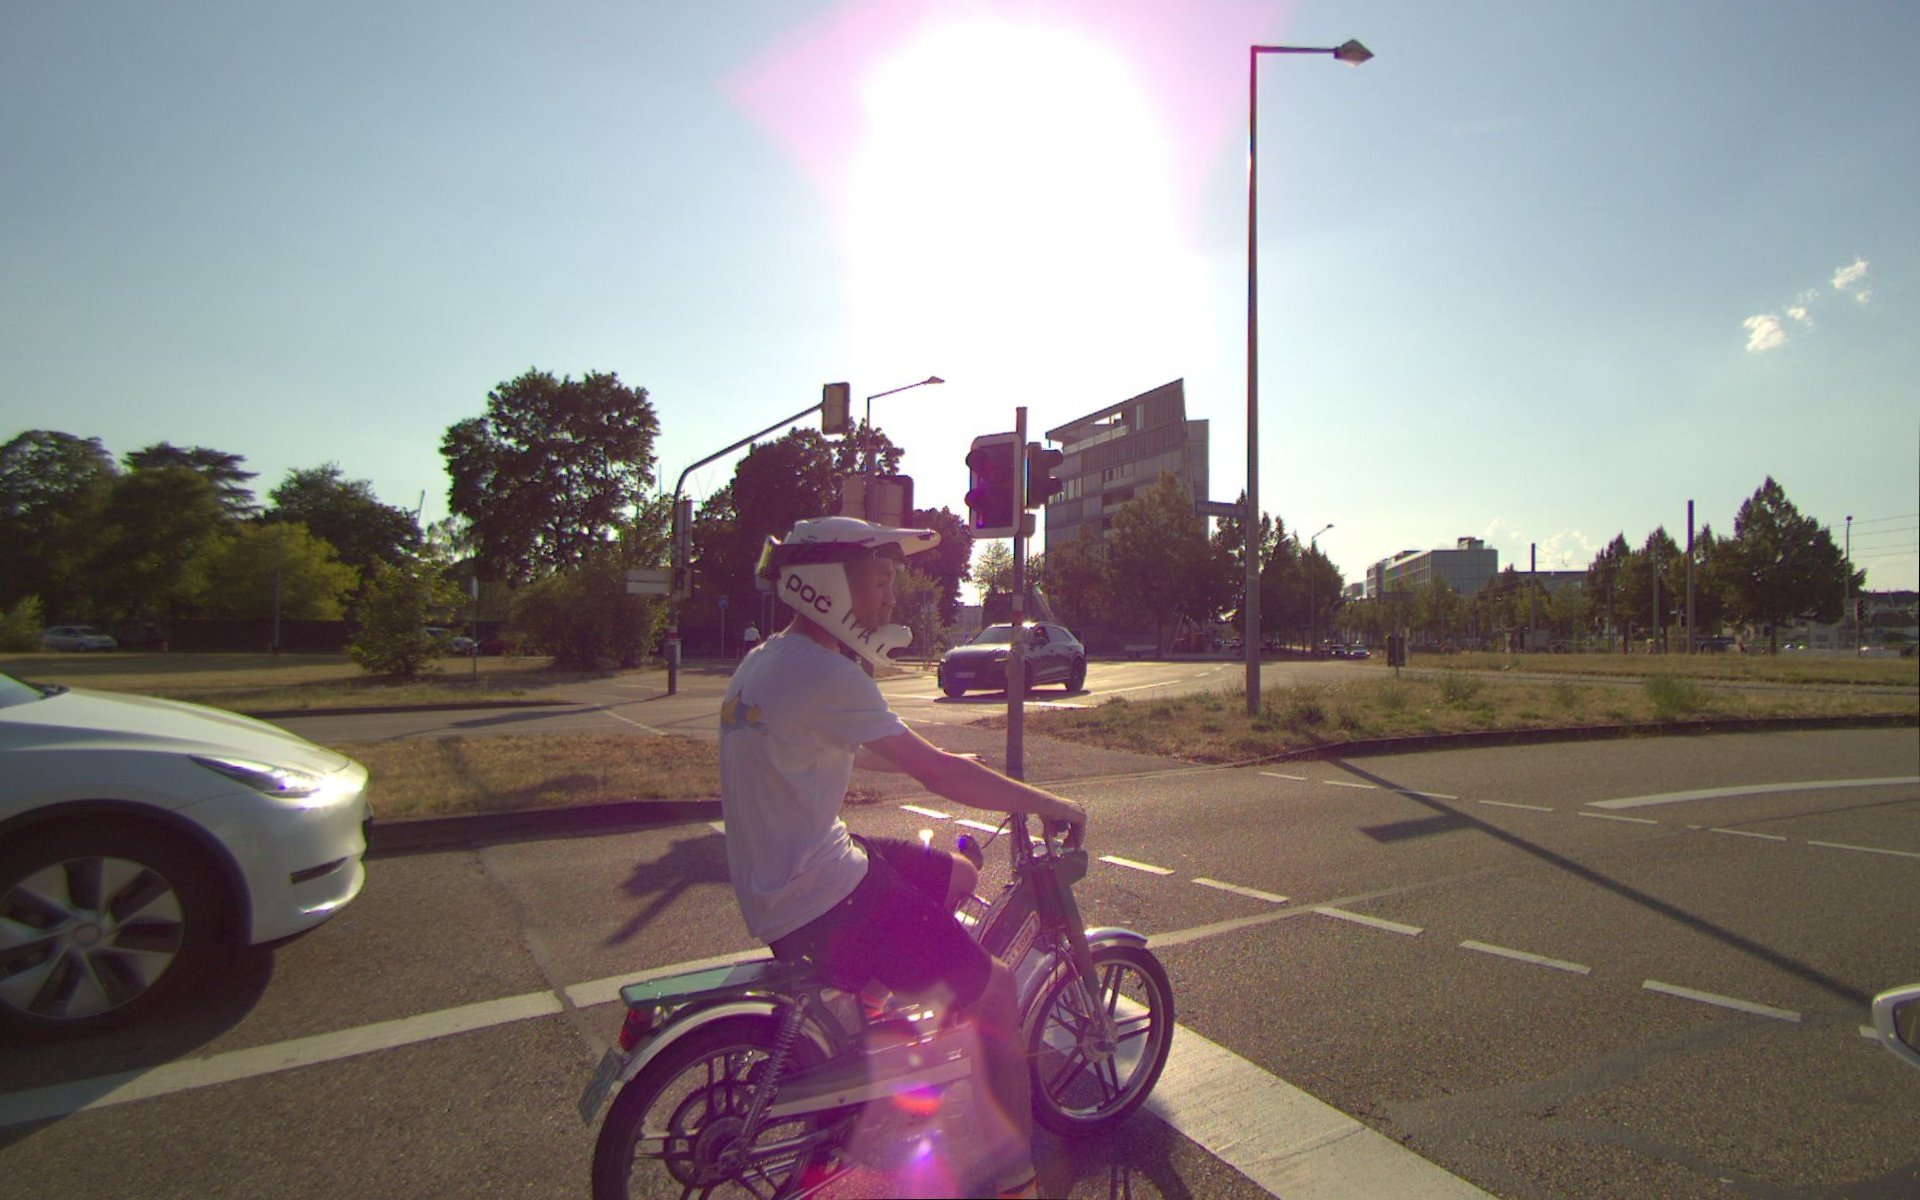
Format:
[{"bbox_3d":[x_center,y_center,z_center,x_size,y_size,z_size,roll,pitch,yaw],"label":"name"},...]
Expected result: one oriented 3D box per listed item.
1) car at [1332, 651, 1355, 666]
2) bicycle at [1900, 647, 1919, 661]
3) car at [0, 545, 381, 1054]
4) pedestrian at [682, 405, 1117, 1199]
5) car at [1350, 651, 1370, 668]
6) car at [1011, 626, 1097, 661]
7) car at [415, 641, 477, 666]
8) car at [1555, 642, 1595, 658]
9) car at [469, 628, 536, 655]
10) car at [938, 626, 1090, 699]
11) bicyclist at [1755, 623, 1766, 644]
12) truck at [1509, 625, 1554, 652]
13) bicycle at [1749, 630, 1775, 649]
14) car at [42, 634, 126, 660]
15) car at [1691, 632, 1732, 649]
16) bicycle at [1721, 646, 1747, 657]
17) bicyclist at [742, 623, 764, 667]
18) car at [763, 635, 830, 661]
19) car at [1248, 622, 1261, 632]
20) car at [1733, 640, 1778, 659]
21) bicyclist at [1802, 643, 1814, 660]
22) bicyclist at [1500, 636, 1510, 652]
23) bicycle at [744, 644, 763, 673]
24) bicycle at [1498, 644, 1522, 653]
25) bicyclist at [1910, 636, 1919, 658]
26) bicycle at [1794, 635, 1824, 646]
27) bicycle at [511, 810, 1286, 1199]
[{"bbox_3d":[39.864,6.060,104.410,1.960,1.495,4.002,0,-2,17],"label":"car"},{"bbox_3d":[68.318,3.845,71.552,0.426,0.930,1.975,1,-2,-34],"label":"bicycle"},{"bbox_3d":[-4.575,0.605,3.174,4.630,1.620,1.724,2,-1,-35],"label":"car"},{"bbox_3d":[-0.158,0.410,2.420,0.844,1.539,0.653,1,-2,-30],"label":"pedestrian"},{"bbox_3d":[36.606,5.433,91.974,1.455,1.495,3.301,0,-2,17],"label":"car"},{"bbox_3d":[5.519,2.569,59.444,4.731,2.040,1.998,1,-2,-8],"label":"car"},{"bbox_3d":[-28.014,2.888,54.763,2.747,1.309,1.338,0,-2,9],"label":"car"},{"bbox_3d":[50.653,4.086,82.750,2.624,1.278,1.114,0,-2,23],"label":"car"},{"bbox_3d":[-27.541,2.506,60.487,3.308,1.567,1.584,0,-2,9],"label":"car"},{"bbox_3d":[1.385,1.408,23.573,1.624,1.532,4.635,-2,-3,30],"label":"car"},{"bbox_3d":[62.303,2.609,78.207,0.598,1.694,0.477,0,-2,34],"label":"bicyclist"},{"bbox_3d":[70.477,4.754,124.012,3.074,3.273,7.178,0,-2,14],"label":"truck"},{"bbox_3d":[62.390,3.056,78.116,1.518,1.493,0.478,-1,-2,34],"label":"bicycle"},{"bbox_3d":[-52.404,2.804,60.119,3.863,1.545,1.658,0,-2,10],"label":"car"},{"bbox_3d":[89.038,4.780,119.049,1.960,2.040,4.002,0,-2,5],"label":"car"},{"bbox_3d":[61.425,4.083,79.681,1.592,0.871,0.543,-1,-2,35],"label":"bicycle"},{"bbox_3d":[-7.560,1.637,36.698,0.628,1.576,0.630,0,-1,2],"label":"bicyclist"},{"bbox_3d":[-9.477,2.776,58.423,3.554,1.457,1.583,0,-2,6],"label":"car"},{"bbox_3d":[47.020,4.292,160.284,1.753,1.576,4.002,2,0,14],"label":"car"},{"bbox_3d":[87.788,5.436,110.850,1.960,2.040,4.002,0,-2,5],"label":"car"},{"bbox_3d":[65.152,3.963,77.183,0.643,1.343,0.517,-1,-2,32],"label":"bicyclist"},{"bbox_3d":[45.586,3.670,84.022,0.641,1.343,0.519,0,-1,17],"label":"bicyclist"},{"bbox_3d":[-7.547,2.132,36.735,0.360,1.046,1.440,0,-2,1],"label":"bicycle"},{"bbox_3d":[45.901,4.023,83.877,1.687,0.754,0.481,0,-2,16],"label":"bicycle"},{"bbox_3d":[68.268,3.370,71.643,0.414,1.531,0.618,1,-2,-35],"label":"bicyclist"},{"bbox_3d":[65.209,3.106,77.136,1.692,0.754,0.479,-1,-2,32],"label":"bicycle"},{"bbox_3d":[-0.046,1.061,2.396,1.834,0.887,0.475,1,-2,-31],"label":"bicycle"}]
